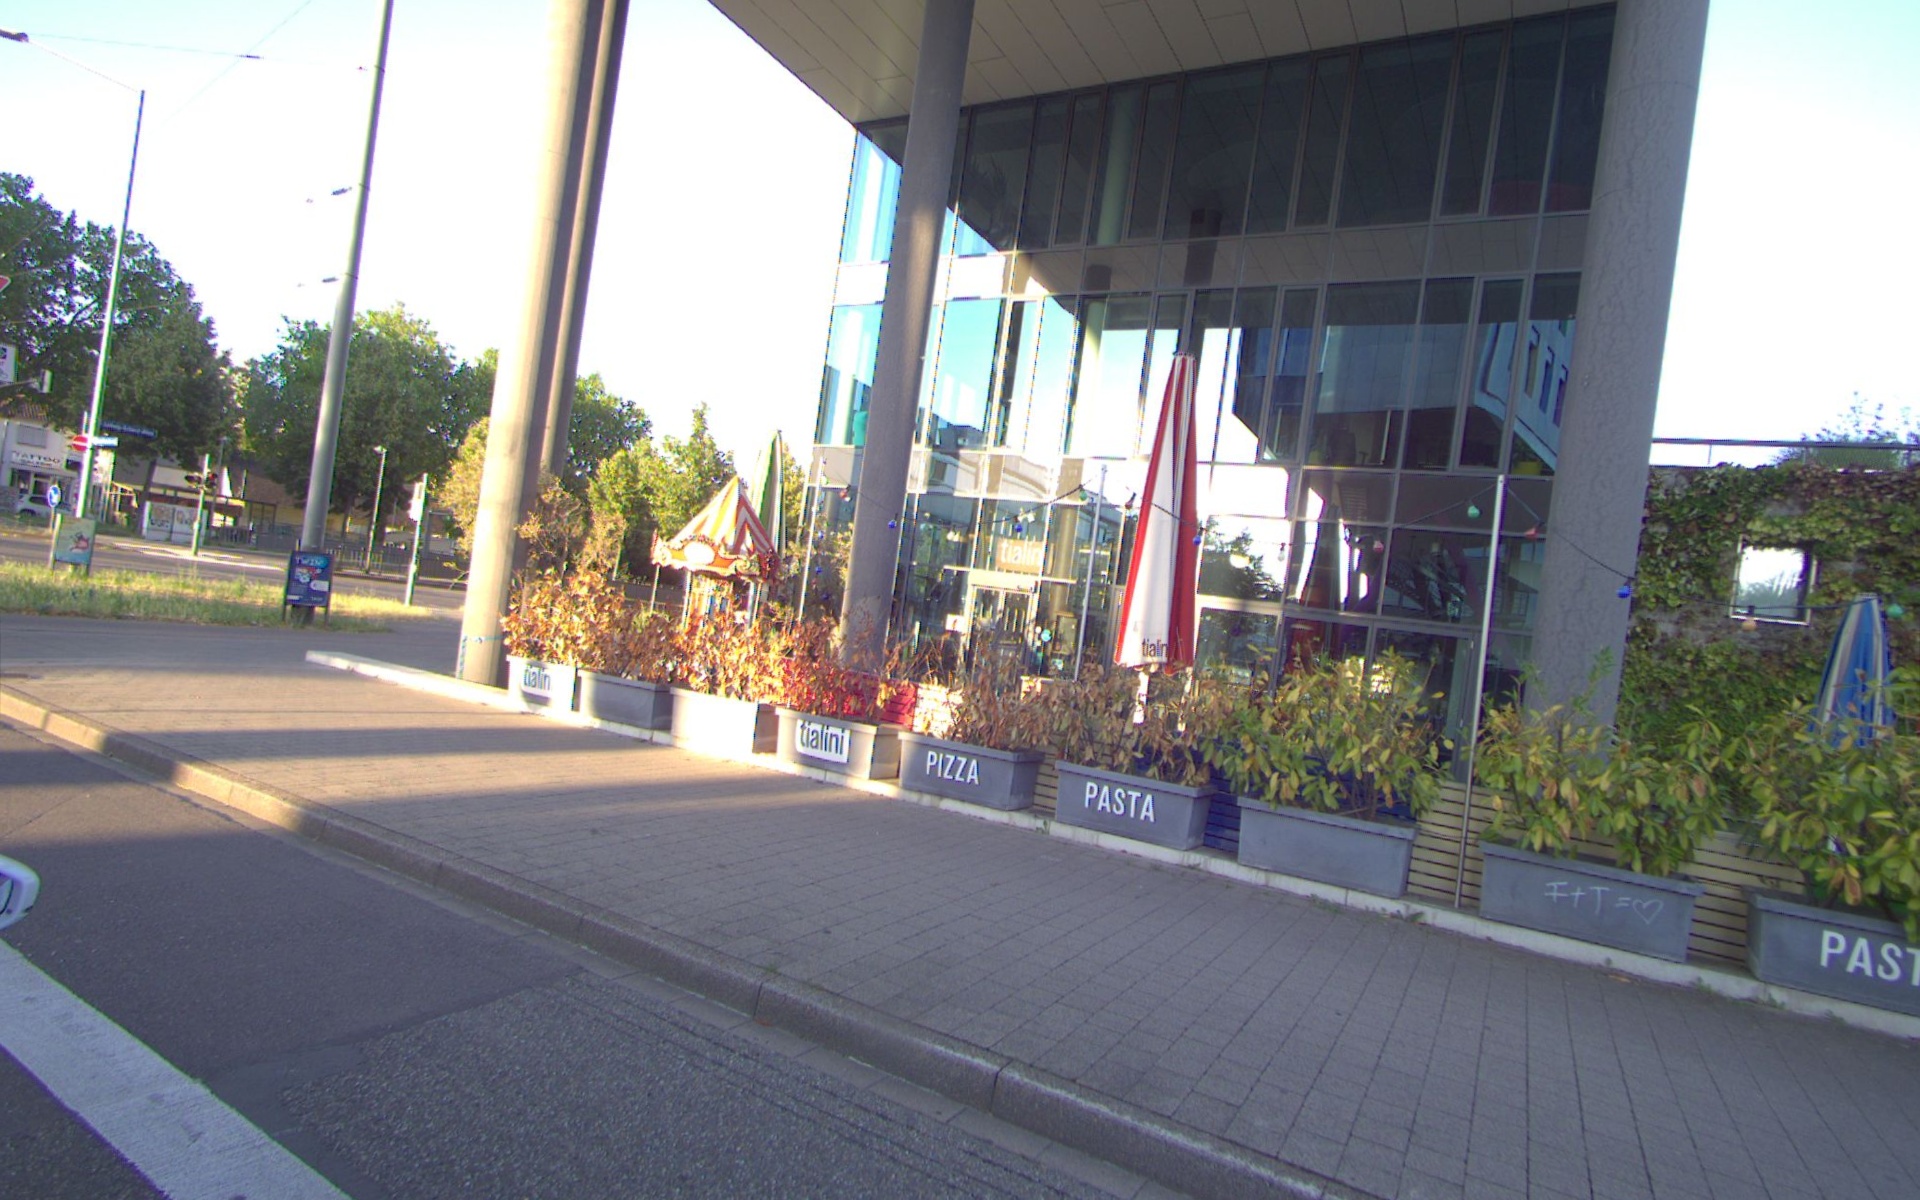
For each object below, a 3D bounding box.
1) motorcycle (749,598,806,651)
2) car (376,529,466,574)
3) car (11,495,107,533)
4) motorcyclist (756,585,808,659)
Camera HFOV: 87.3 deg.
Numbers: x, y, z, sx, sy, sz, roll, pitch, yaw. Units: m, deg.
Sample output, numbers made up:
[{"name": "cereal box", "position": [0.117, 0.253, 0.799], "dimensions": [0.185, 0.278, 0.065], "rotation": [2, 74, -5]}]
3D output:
[{"name": "motorcycle", "position": [-4.645, 0.634, 25.652], "dimensions": [0.557, 1.202, 1.313], "rotation": [8, -1, 32]}, {"name": "car", "position": [-42.563, -3.823, 79.553], "dimensions": [2.197, 2.581, 5.594], "rotation": [7, -2, 39]}, {"name": "car", "position": [-50.218, -4.796, 56.103], "dimensions": [1.641, 1.456, 3.736], "rotation": [6, -2, 41]}, {"name": "motorcyclist", "position": [-4.545, 0.572, 25.761], "dimensions": [0.665, 1.767, 0.901], "rotation": [8, 0, 32]}]
